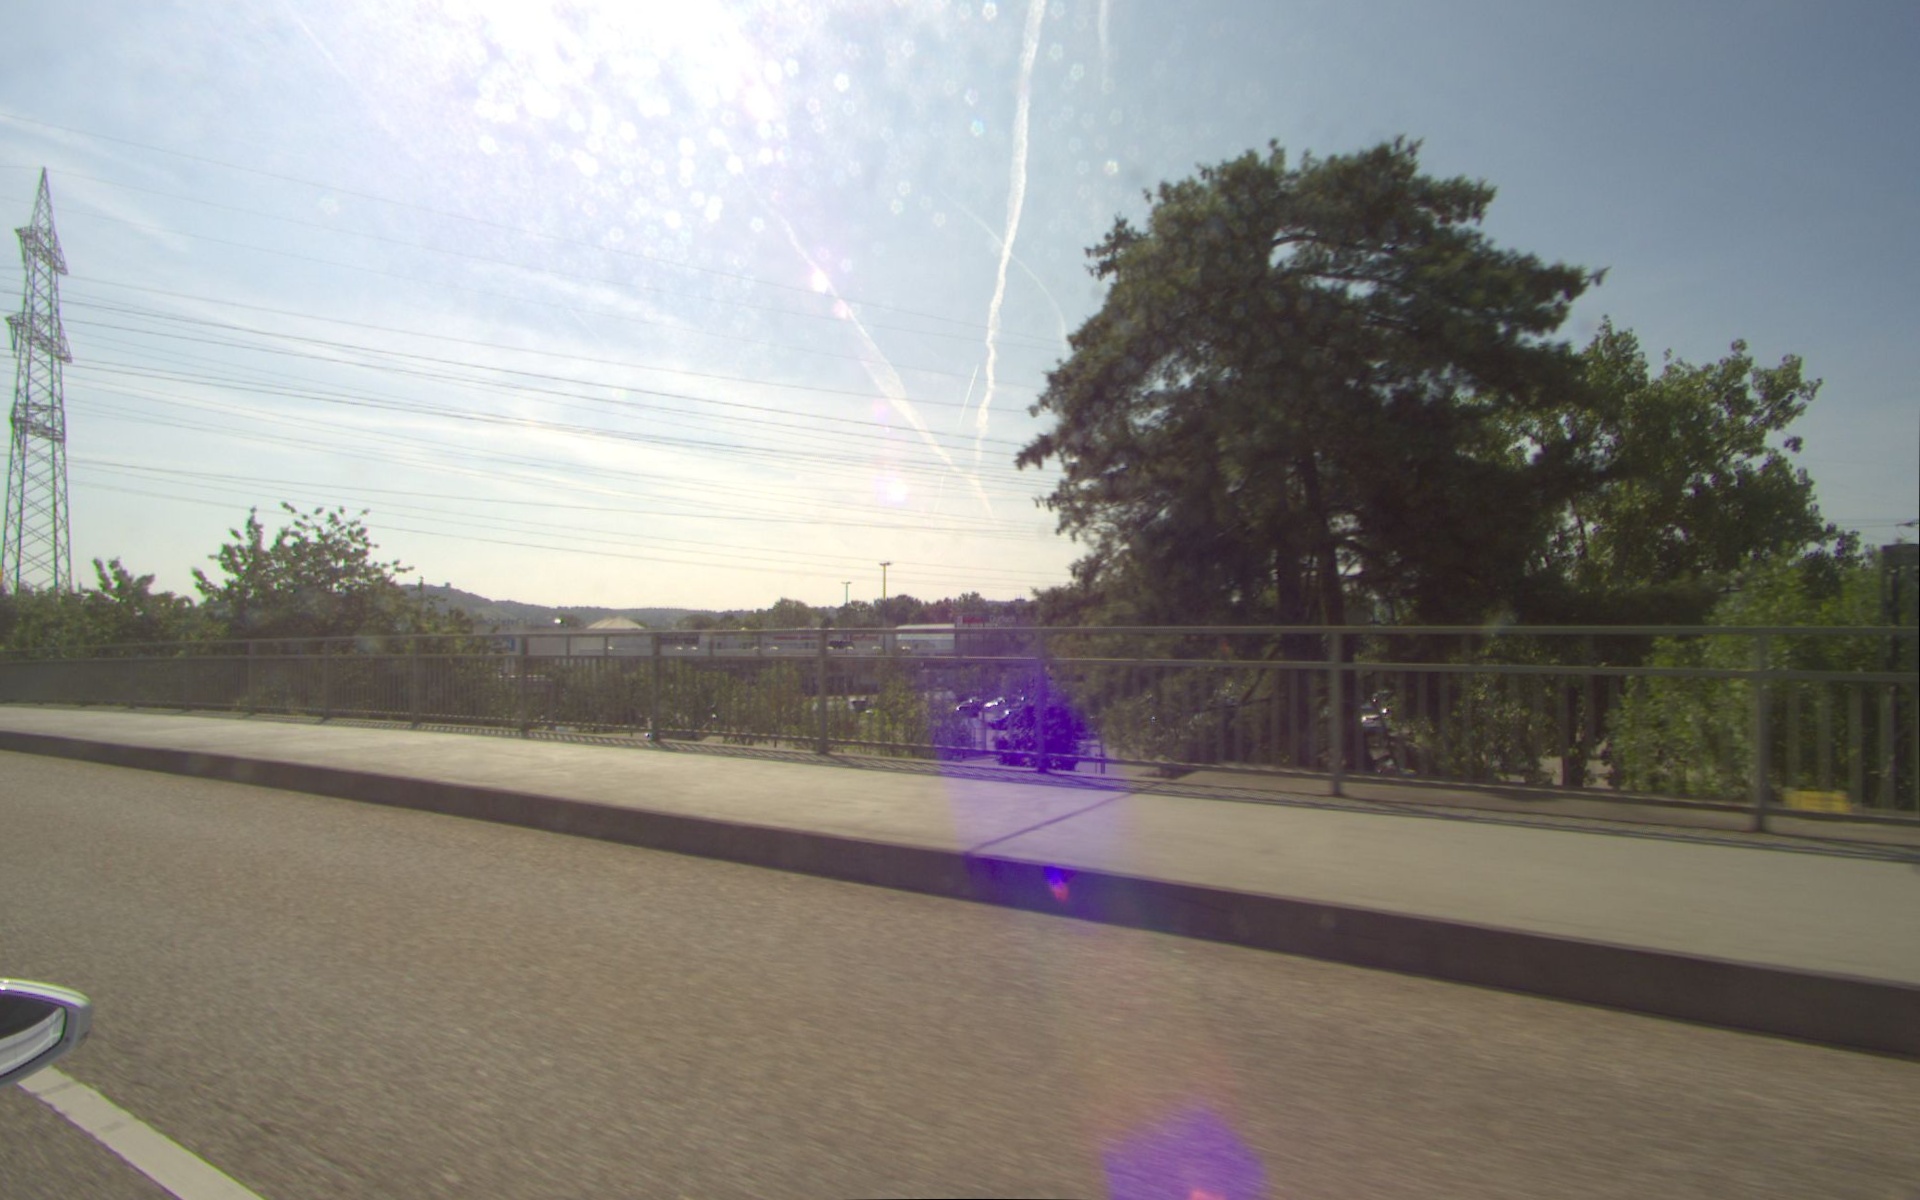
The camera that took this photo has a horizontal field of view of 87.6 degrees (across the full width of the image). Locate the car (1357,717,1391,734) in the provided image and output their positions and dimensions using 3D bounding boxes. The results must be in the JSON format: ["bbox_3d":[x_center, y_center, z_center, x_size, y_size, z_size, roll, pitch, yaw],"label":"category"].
[{"bbox_3d":[40.062,12.163,96.887,3.111,1.378,1.388,1,-1,-27],"label":"car"}]

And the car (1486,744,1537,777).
[{"bbox_3d":[35.924,10.431,65.206,3.961,1.638,1.754,1,-2,-43],"label":"car"}]

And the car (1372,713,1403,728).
[{"bbox_3d":[45.468,12.852,106.570,3.111,1.378,1.388,1,-1,-27],"label":"car"}]
